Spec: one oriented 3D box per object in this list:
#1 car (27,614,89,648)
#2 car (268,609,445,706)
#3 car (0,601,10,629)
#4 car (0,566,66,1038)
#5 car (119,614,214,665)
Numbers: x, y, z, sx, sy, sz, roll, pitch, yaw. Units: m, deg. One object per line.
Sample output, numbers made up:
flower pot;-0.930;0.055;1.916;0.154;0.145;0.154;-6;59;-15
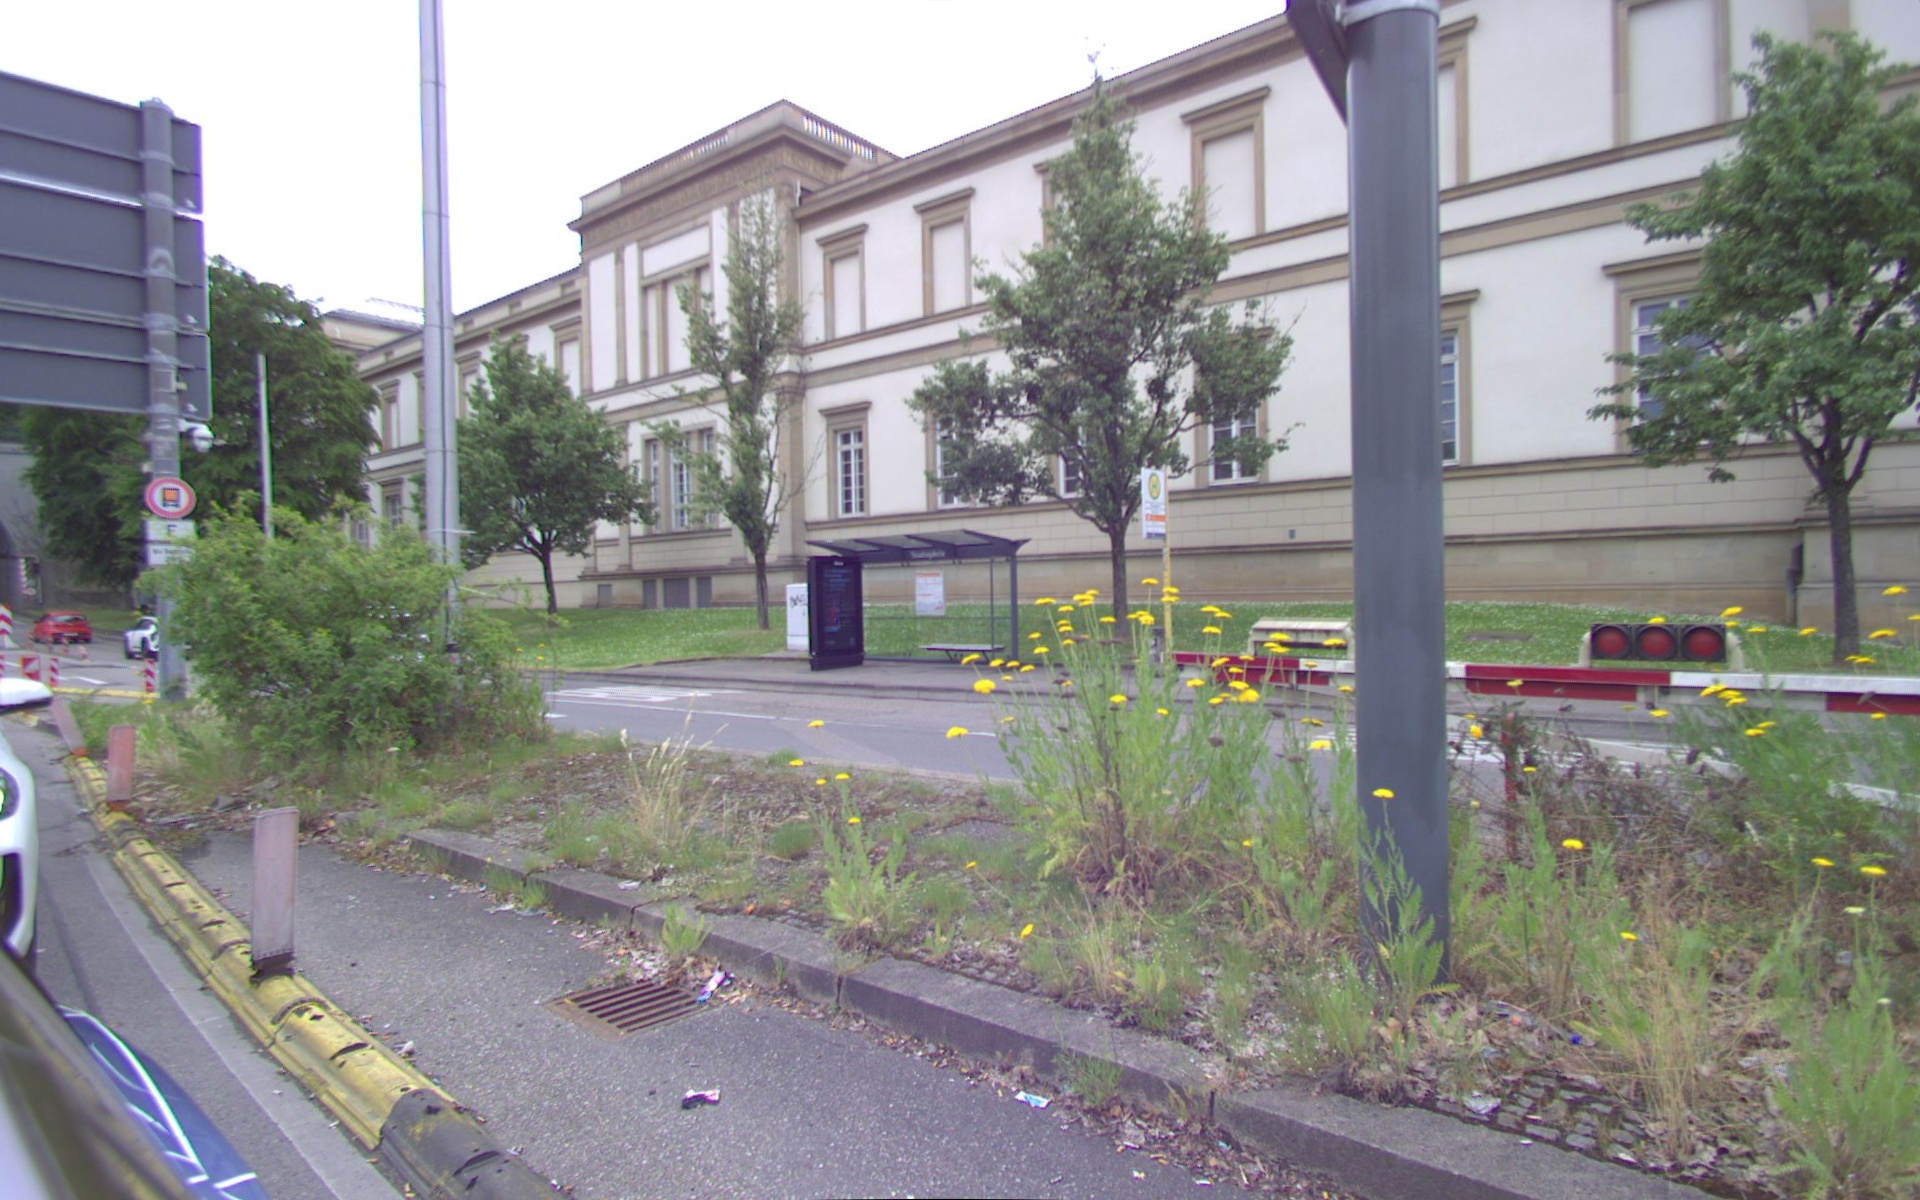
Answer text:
car;-42.399;1.446;47.550;3.570;1.489;1.626;-1;-1;39
car;-11.646;1.043;19.421;4.108;1.637;1.878;-2;-1;43
car;-58.050;0.929;60.210;3.800;1.630;1.756;-1;0;40
car;-5.235;0.724;4.105;3.668;1.637;1.962;-1;0;41
car;-28.487;1.376;36.307;4.265;1.704;1.851;-1;0;40
